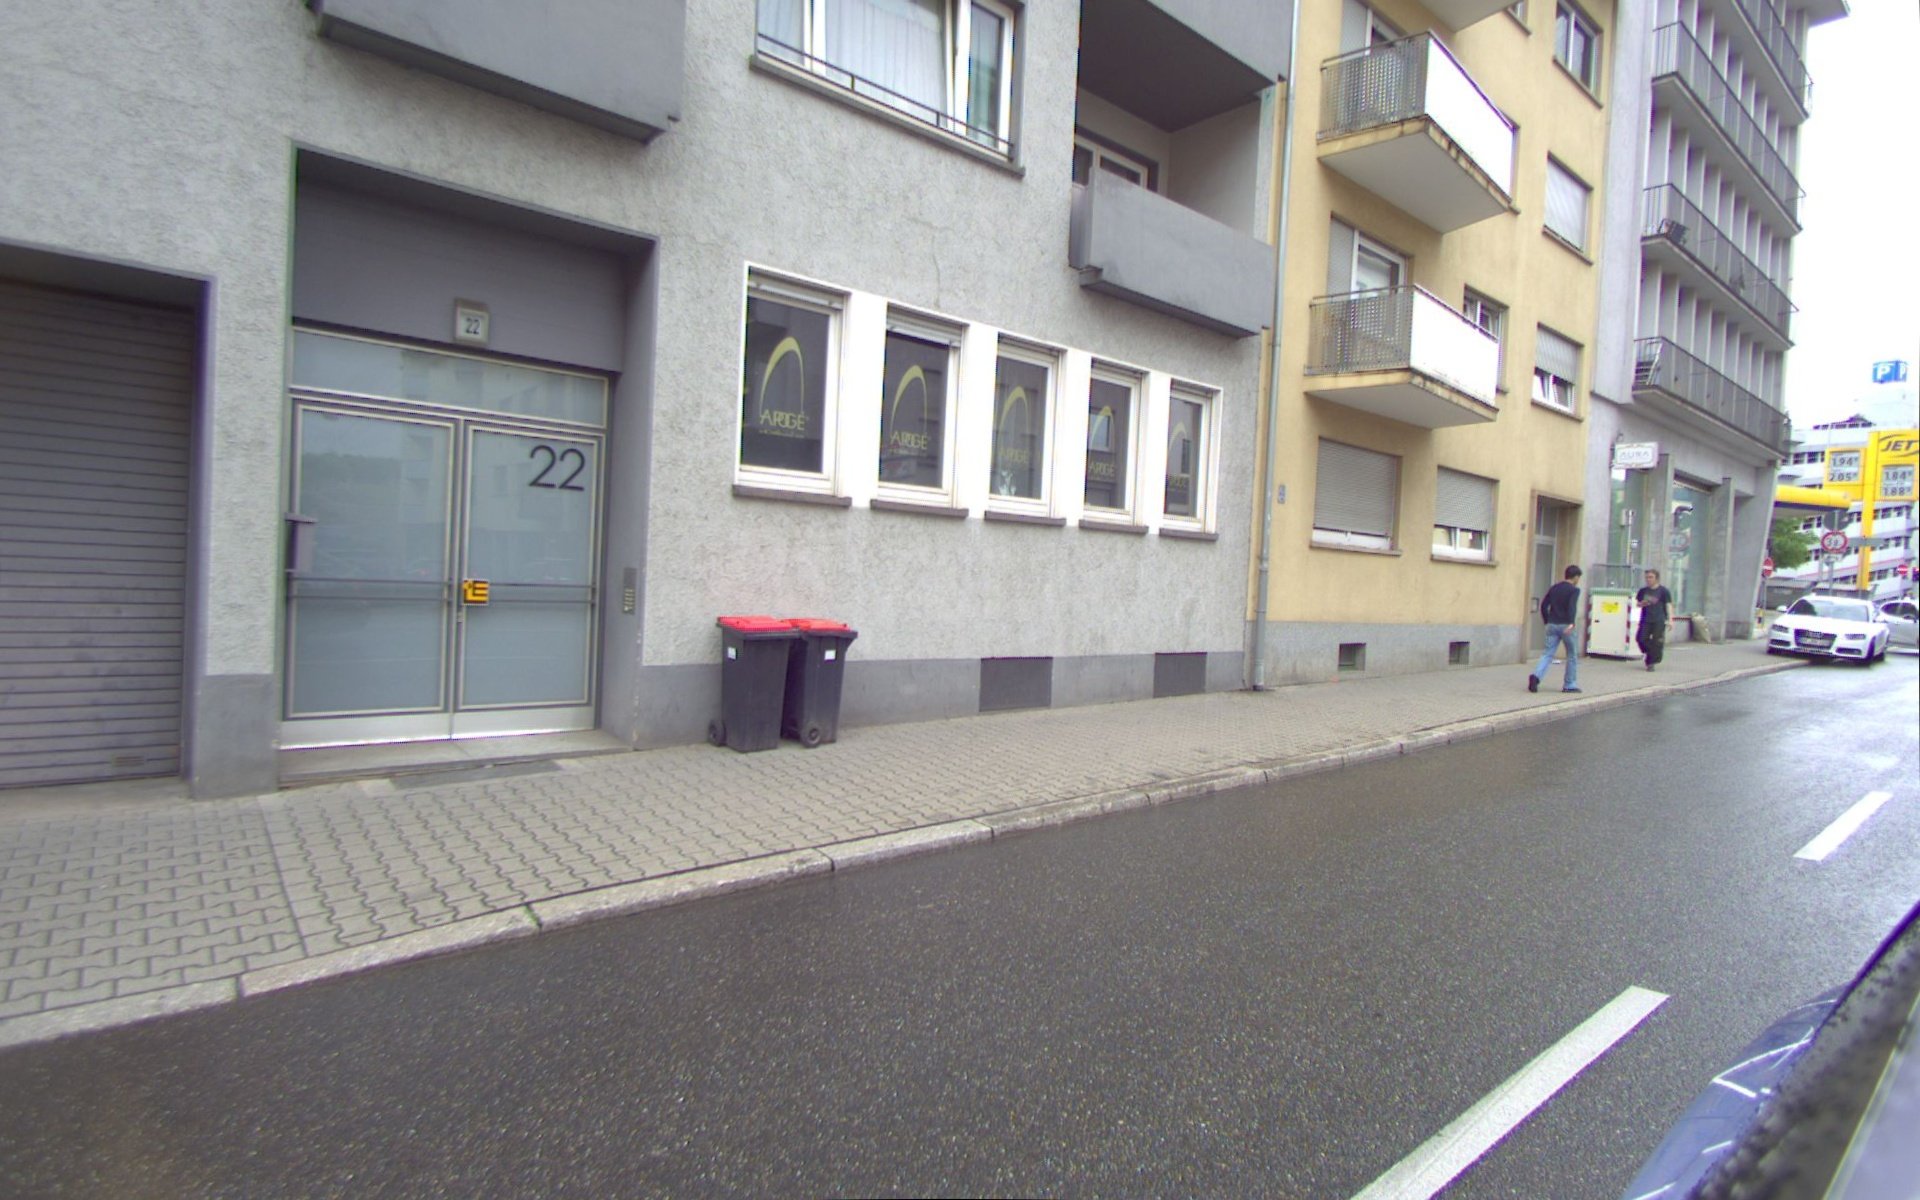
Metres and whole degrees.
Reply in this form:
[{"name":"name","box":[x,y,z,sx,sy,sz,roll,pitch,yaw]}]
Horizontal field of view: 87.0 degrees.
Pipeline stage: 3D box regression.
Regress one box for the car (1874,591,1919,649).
[{"name":"car","box":[25.667,0.521,26.097,1.750,1.492,3.972,0,0,21]}]

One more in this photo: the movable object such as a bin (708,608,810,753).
[{"name":"movable object such as a bin","box":[-1.483,0.566,7.439,0.506,0.967,0.541,0,5,-40]}]

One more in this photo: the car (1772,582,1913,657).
[{"name":"car","box":[20.108,0.391,23.005,4.093,1.453,1.803,0,4,-41]}]

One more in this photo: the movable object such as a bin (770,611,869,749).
[{"name":"movable object such as a bin","box":[-1.084,0.591,7.785,0.506,0.961,0.541,0,5,-40]}]

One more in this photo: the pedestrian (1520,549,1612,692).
[{"name":"pedestrian","box":[8.138,0.252,13.582,1.038,1.799,0.644,0,5,-41]}]

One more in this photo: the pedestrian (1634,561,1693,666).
[{"name":"pedestrian","box":[12.458,0.224,17.907,0.677,1.777,0.875,4,3,42]}]
